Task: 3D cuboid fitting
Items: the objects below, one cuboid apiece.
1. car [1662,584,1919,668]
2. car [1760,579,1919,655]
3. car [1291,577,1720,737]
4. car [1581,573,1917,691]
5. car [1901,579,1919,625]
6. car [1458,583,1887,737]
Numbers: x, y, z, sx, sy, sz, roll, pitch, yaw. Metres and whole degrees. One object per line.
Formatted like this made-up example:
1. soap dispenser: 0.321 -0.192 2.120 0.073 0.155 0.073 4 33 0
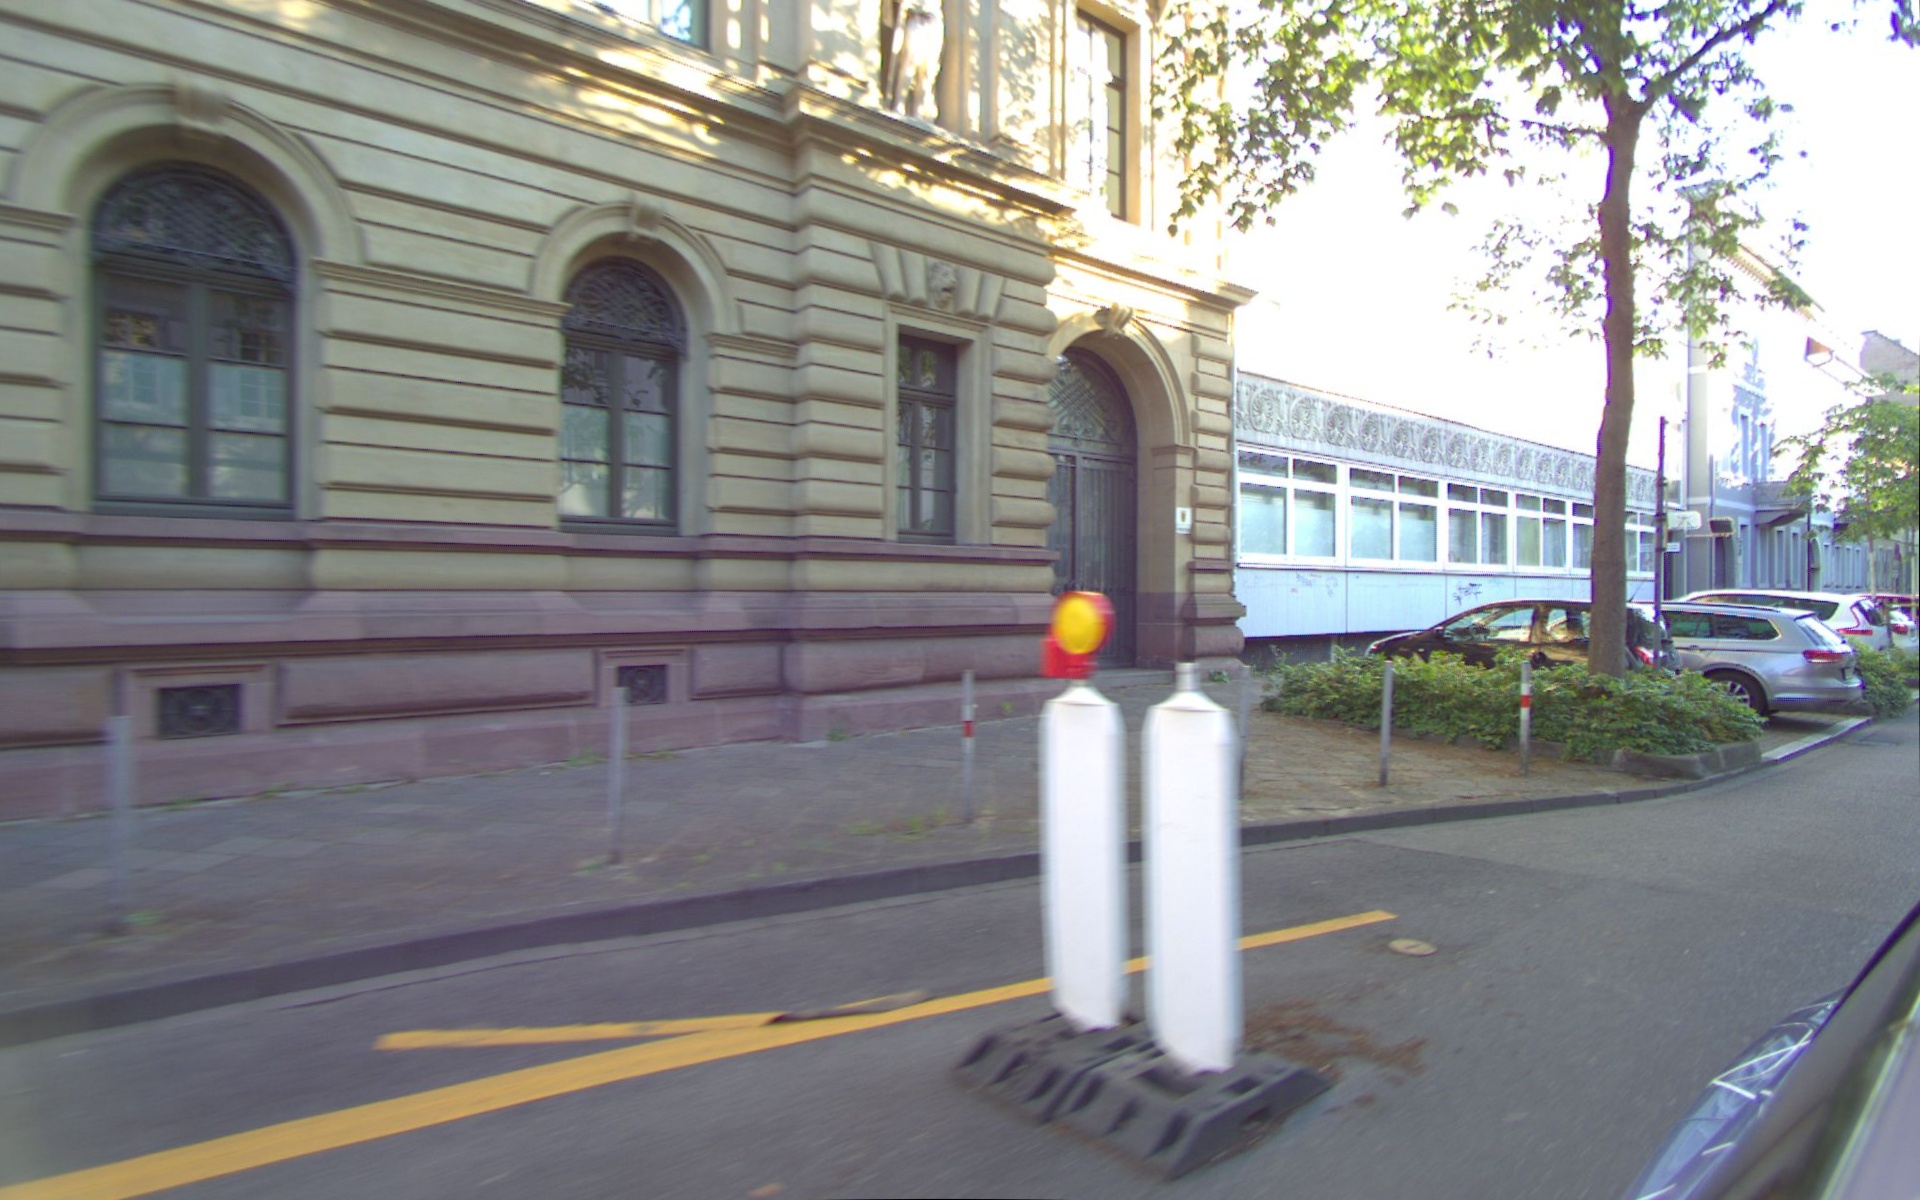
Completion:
1. car: 18.108 0.479 21.963 1.854 1.512 4.365 0 3 -41
2. car: 22.350 0.402 24.540 1.703 1.644 4.366 0 3 -41
3. car: 6.635 0.545 12.711 1.803 1.482 4.364 -1 4 -43
4. car: 13.857 0.452 17.983 2.019 1.662 4.366 0 3 -41
5. car: 39.502 0.163 39.133 1.703 1.800 4.366 0 3 -41
6. car: 9.281 0.642 13.537 1.642 1.513 4.369 0 3 -39
